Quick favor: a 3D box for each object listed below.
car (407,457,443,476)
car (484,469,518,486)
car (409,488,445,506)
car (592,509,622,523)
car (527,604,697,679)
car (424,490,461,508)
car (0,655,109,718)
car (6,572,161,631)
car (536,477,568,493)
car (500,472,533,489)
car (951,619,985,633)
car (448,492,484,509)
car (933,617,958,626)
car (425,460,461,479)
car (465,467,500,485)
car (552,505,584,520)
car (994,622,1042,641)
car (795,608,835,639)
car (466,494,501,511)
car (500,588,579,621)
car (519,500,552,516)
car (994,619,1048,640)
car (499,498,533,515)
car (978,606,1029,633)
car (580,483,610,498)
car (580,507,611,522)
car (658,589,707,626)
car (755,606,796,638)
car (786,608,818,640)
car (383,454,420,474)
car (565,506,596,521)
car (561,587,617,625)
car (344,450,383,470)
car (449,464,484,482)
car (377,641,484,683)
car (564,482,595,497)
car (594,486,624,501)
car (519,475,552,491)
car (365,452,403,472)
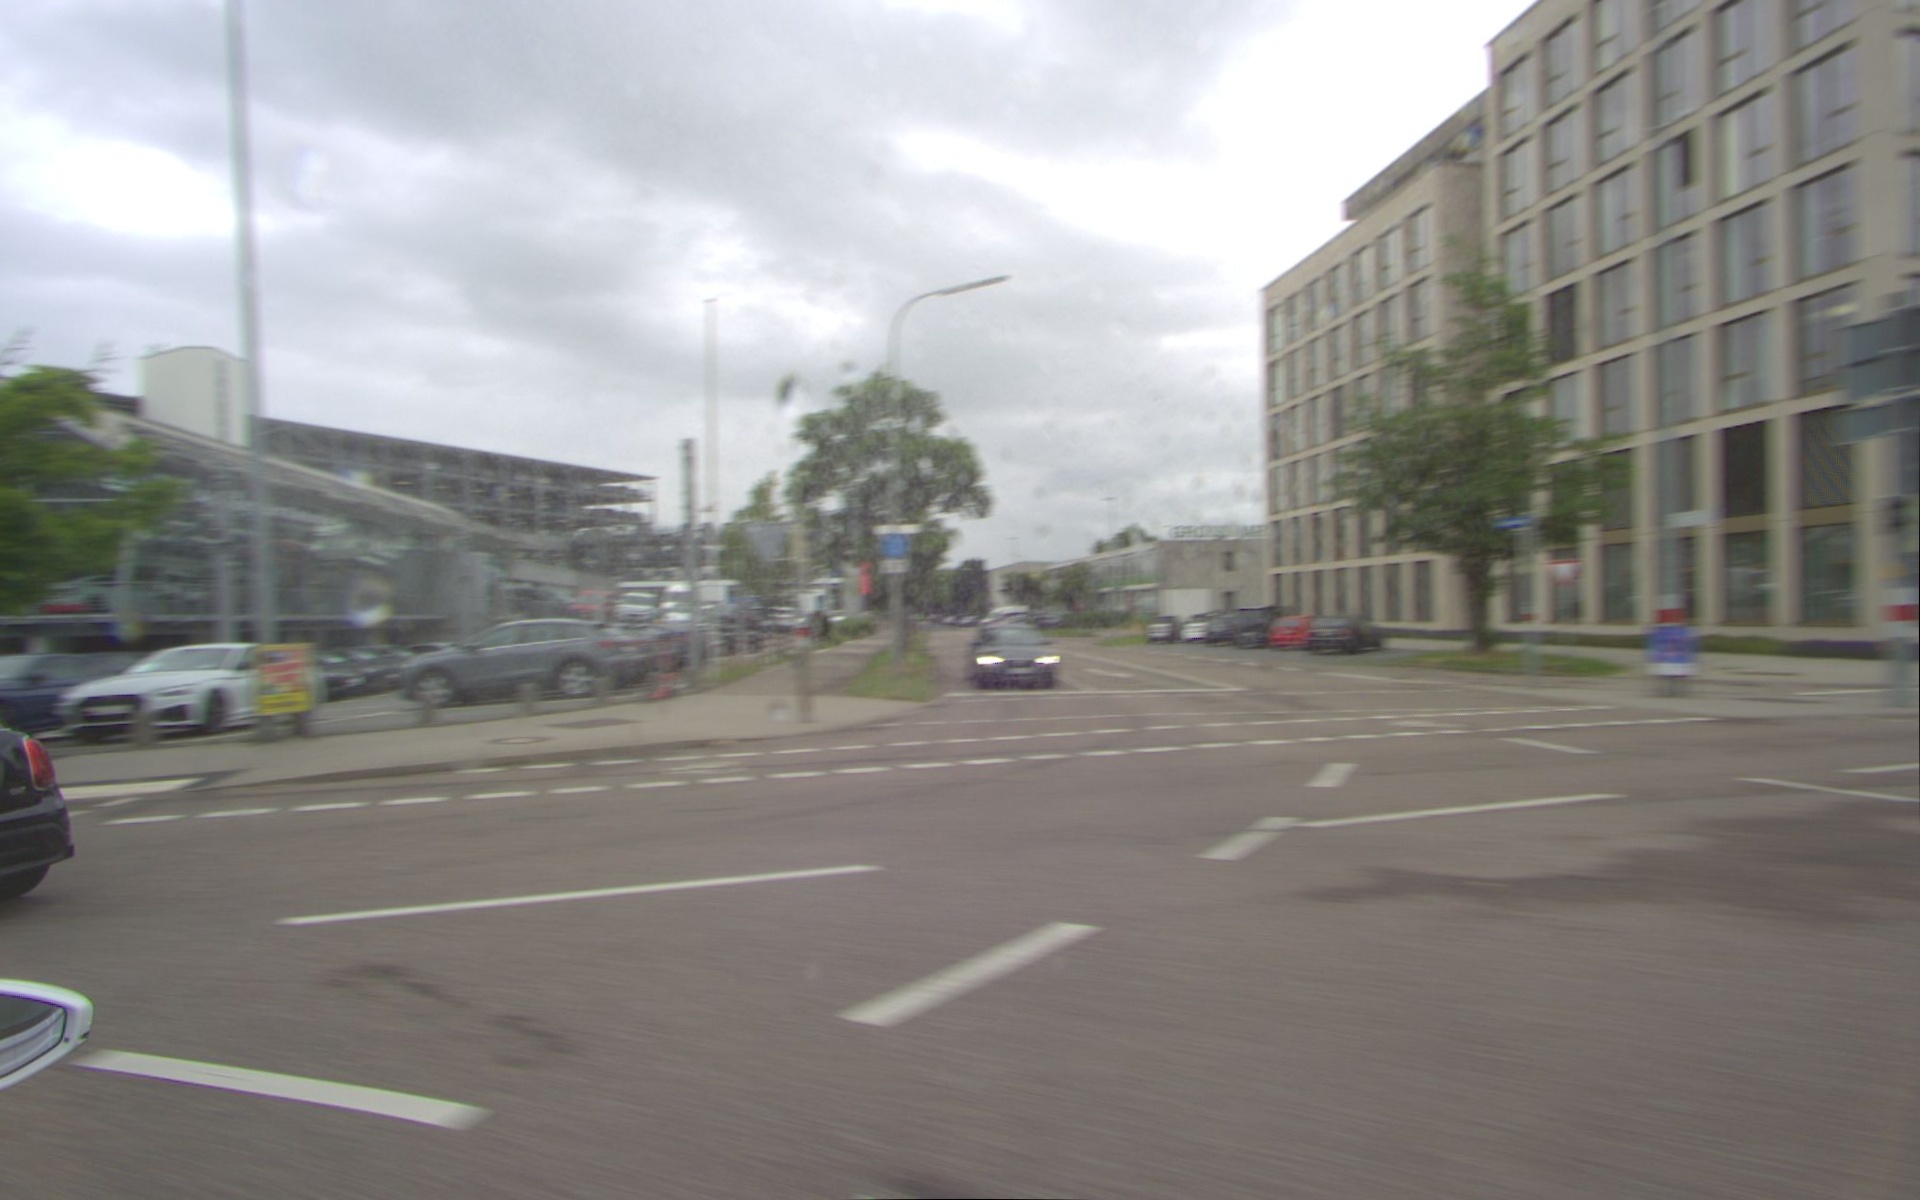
[{"bbox_3d":[-63.177,-15.725,118.244,3.937,1.689,1.993,-1,-1,28],"label":"car"},{"bbox_3d":[-58.424,-15.554,127.445,3.937,1.689,1.993,-1,-1,28],"label":"car"},{"bbox_3d":[-62.984,-12.112,118.323,3.937,1.689,1.993,-1,-1,28],"label":"car"},{"bbox_3d":[-50.634,-12.028,143.568,3.937,1.689,1.993,-1,-1,28],"label":"car"},{"bbox_3d":[-10.785,1.273,31.389,4.698,2.039,1.999,-3,-1,-11],"label":"car"},{"bbox_3d":[-62.261,-12.163,120.464,3.937,1.689,1.993,-1,-1,28],"label":"car"},{"bbox_3d":[-24.093,2.173,25.275,1.892,1.504,4.266,1,-4,-7],"label":"car"},{"bbox_3d":[-27.435,0.105,31.543,1.791,1.683,3.999,1,-2,-9],"label":"car"},{"bbox_3d":[-54.798,-15.430,134.522,3.937,1.689,1.993,-1,-1,28],"label":"car"},{"bbox_3d":[-57.298,-15.466,129.357,3.937,1.689,1.993,-1,-1,28],"label":"car"},{"bbox_3d":[1.192,3.974,153.110,5.091,2.039,2.144,1,-2,-5],"label":"car"},{"bbox_3d":[-60.624,-12.180,122.823,3.937,1.689,1.993,-1,-1,28],"label":"car"},{"bbox_3d":[-2.886,4.315,200.673,4.709,1.915,2.144,1,-2,-7],"label":"car"},{"bbox_3d":[-62.060,-15.644,120.200,3.937,1.689,1.993,-1,-1,28],"label":"car"},{"bbox_3d":[-59.618,-15.466,125.047,3.937,1.689,1.993,-1,-1,28],"label":"car"},{"bbox_3d":[-53.602,-11.995,136.885,3.937,1.689,1.993,-1,-1,28],"label":"car"},{"bbox_3d":[5.974,3.226,103.390,4.709,1.915,2.144,1,-2,-7],"label":"car"},{"bbox_3d":[-7.853,1.297,54.451,1.962,1.638,4.001,1,-2,-6],"label":"car"},{"bbox_3d":[-59.467,-12.155,125.041,3.937,1.689,1.993,-1,-1,28],"label":"car"},{"bbox_3d":[-24.706,0.273,58.981,3.923,1.861,1.760,1,-2,-7],"label":"car"},{"bbox_3d":[-55.937,-12.087,131.939,3.937,1.689,1.993,-1,-1,28],"label":"car"},{"bbox_3d":[6.053,2.968,100.132,5.091,2.039,2.144,1,-2,-7],"label":"car"},{"bbox_3d":[-57.332,-12.063,129.259,3.937,1.689,1.993,-1,-1,28],"label":"car"},{"bbox_3d":[5.317,2.408,122.553,6.019,3.156,2.134,1,-1,-6],"label":"car"},{"bbox_3d":[-51.610,-15.430,141.588,3.937,1.689,1.993,-1,-1,28],"label":"car"},{"bbox_3d":[-51.572,-12.030,141.535,3.937,1.689,1.993,-1,-1,28],"label":"car"},{"bbox_3d":[-14.626,0.436,52.957,1.962,1.846,4.000,1,-2,-8],"label":"car"},{"bbox_3d":[-9.876,1.220,53.730,1.962,1.638,4.000,1,-2,-8],"label":"car"},{"bbox_3d":[-10.234,1.588,64.930,1.962,2.039,4.000,1,-2,-8],"label":"car"},{"bbox_3d":[-64.575,-15.727,115.738,3.937,1.689,1.993,-1,-1,28],"label":"car"},{"bbox_3d":[-52.633,-11.995,138.925,3.937,1.689,1.993,-1,-1,28],"label":"car"},{"bbox_3d":[-19.463,0.351,52.710,1.962,1.872,4.000,1,-2,-8],"label":"car"},{"bbox_3d":[-66.447,-15.586,111.594,3.937,1.689,1.993,-1,-1,28],"label":"car"},{"bbox_3d":[-60.604,-15.552,122.957,3.937,1.689,1.993,-1,-1,28],"label":"car"},{"bbox_3d":[-24.271,2.820,46.024,3.925,1.861,1.759,1,-2,-10],"label":"car"},{"bbox_3d":[-52.945,-15.364,139.275,3.937,1.689,1.993,-1,-1,28],"label":"car"},{"bbox_3d":[-50.391,-15.333,143.793,3.937,1.689,1.993,-1,-1,28],"label":"car"},{"bbox_3d":[-55.965,-15.446,132.127,3.937,1.689,1.993,-1,-1,28],"label":"car"},{"bbox_3d":[-65.376,-15.659,113.622,3.937,1.689,1.993,-1,-1,28],"label":"car"}]
